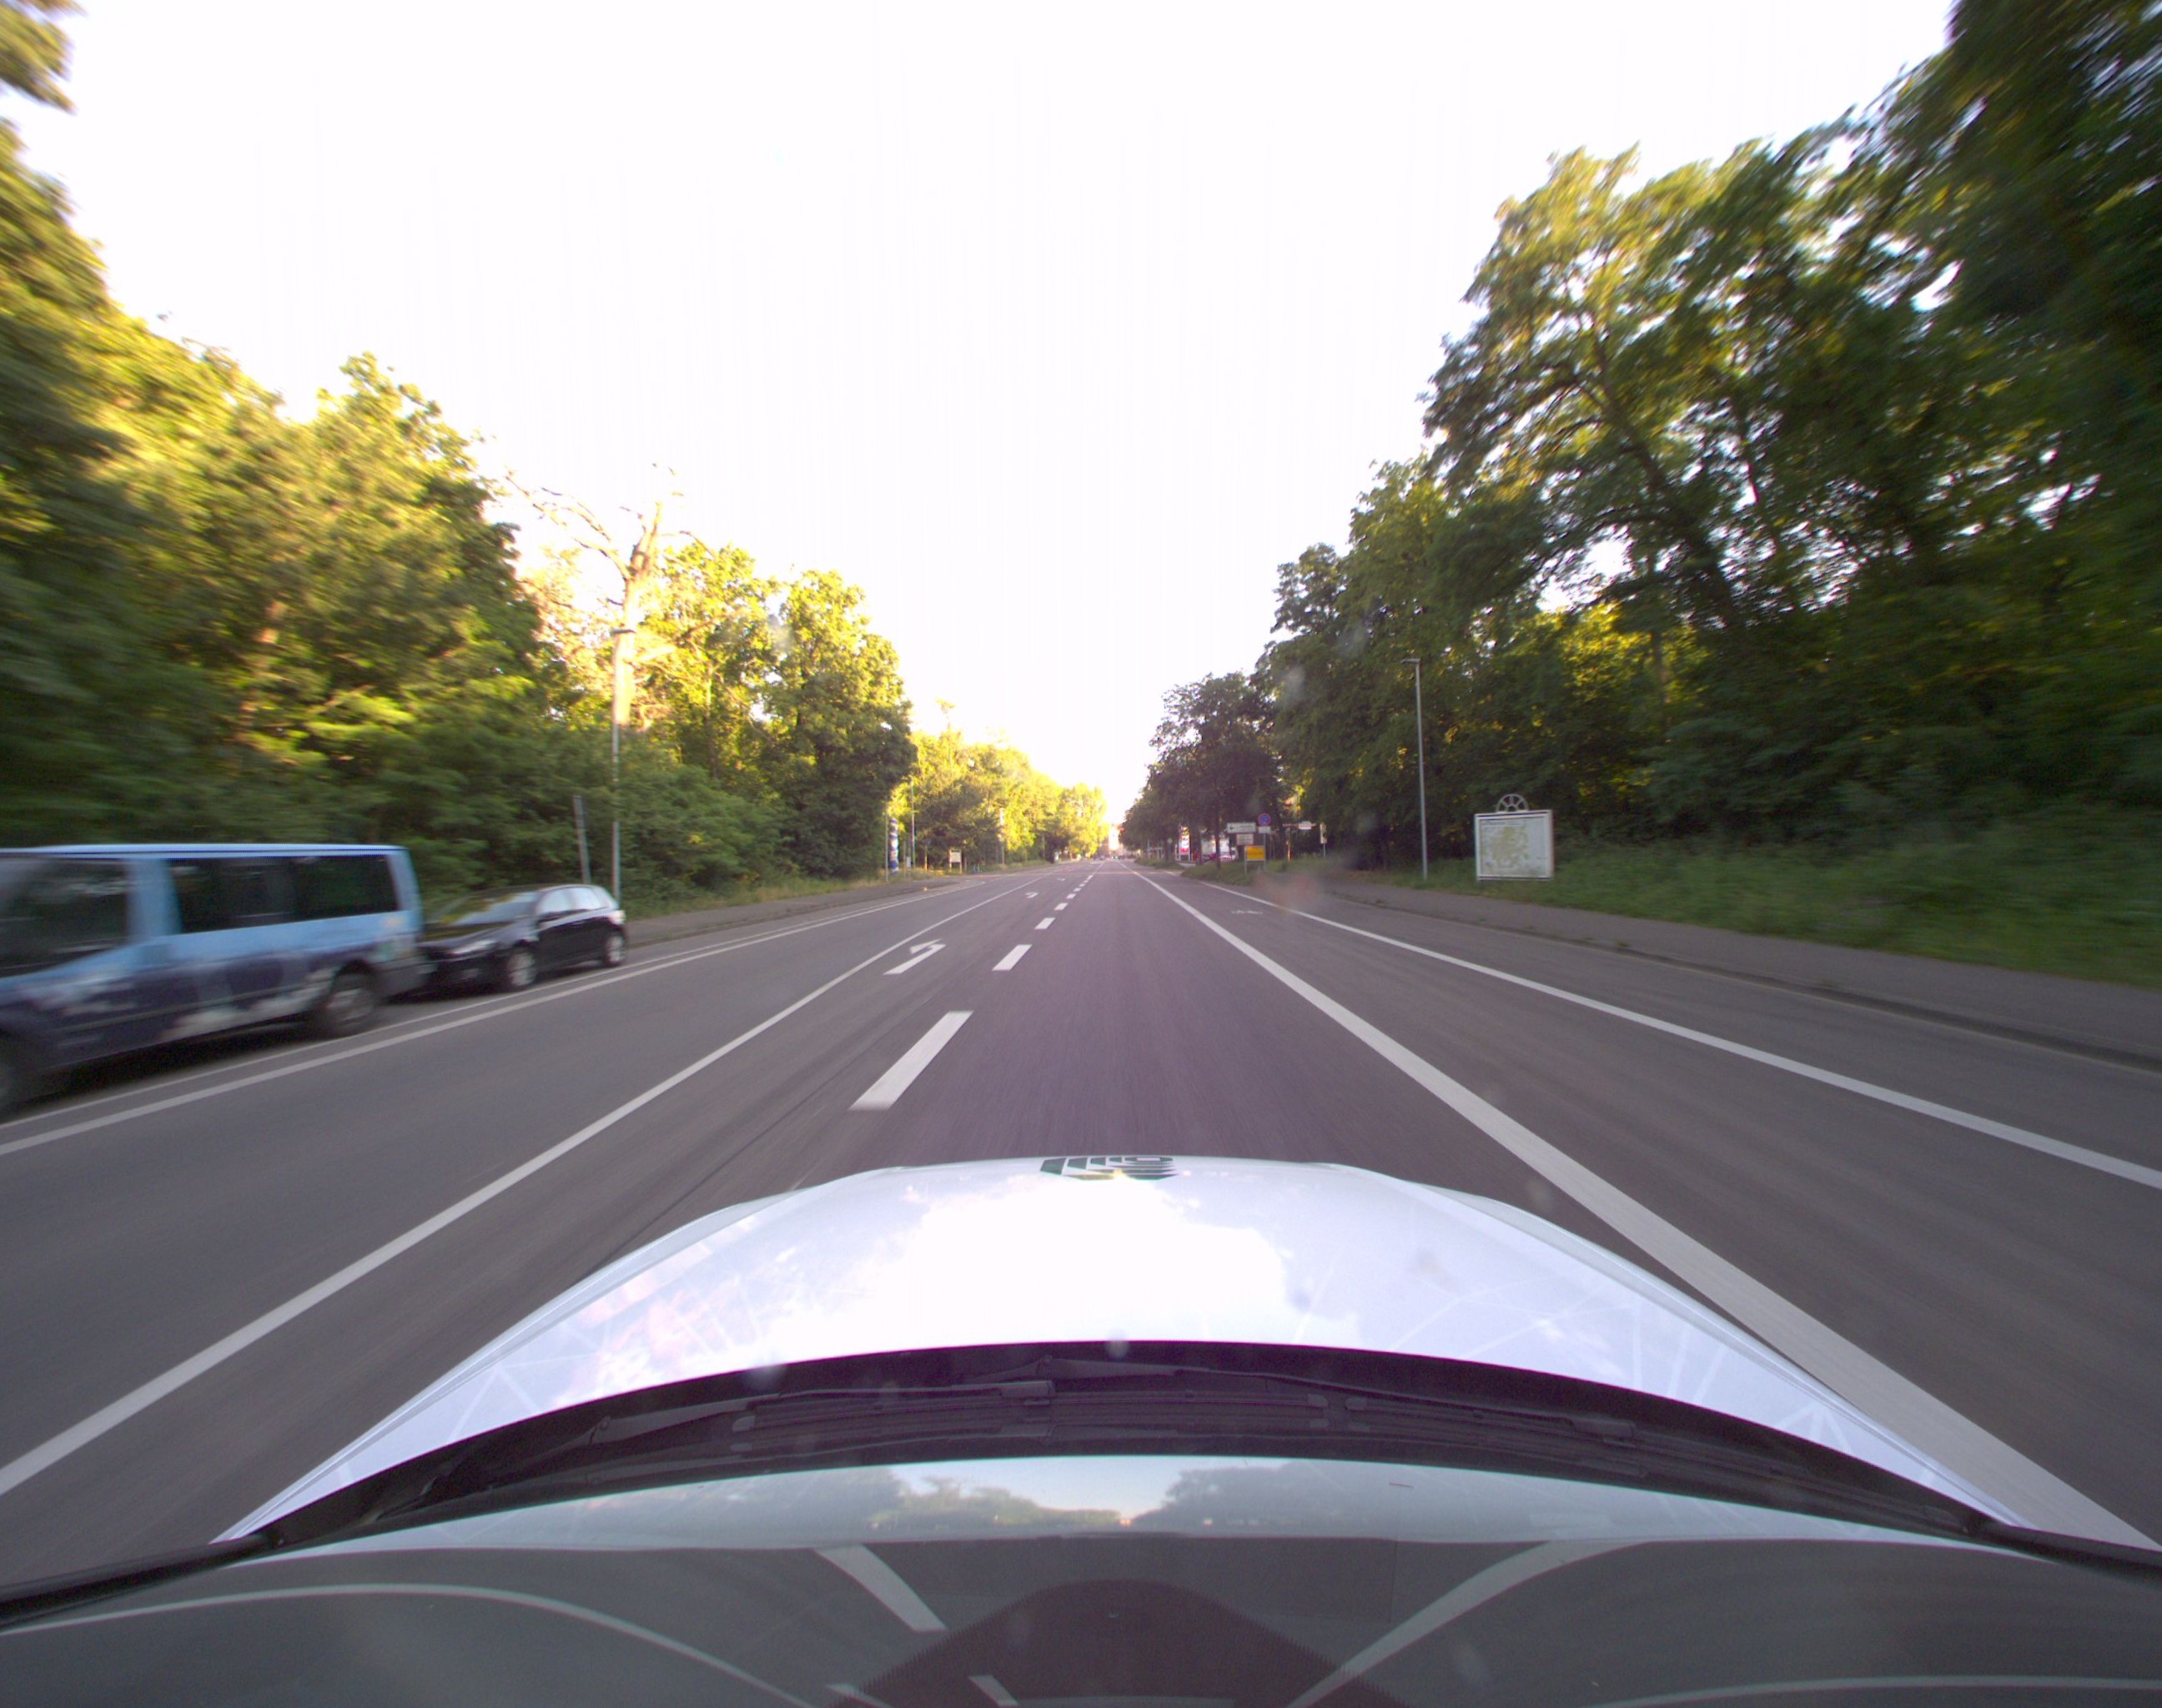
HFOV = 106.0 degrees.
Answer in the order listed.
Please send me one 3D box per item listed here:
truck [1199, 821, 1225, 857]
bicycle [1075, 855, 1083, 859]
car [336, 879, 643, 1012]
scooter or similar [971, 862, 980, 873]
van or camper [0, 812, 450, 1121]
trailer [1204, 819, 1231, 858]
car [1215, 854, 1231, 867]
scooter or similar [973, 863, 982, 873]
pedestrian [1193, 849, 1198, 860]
[{"bbox_3d":[20.389,-2.277,127.138,3.021,5.455,8.415,-2,0,2],"label":"truck"},{"bbox_3d":[-0.650,0.823,258.661,2.446,1.195,0.759,-2,-1,11],"label":"bicycle"},{"bbox_3d":[-8.592,1.215,12.394,1.683,1.462,4.238,-3,0,-3],"label":"car"},{"bbox_3d":[-11.194,1.462,86.462,0.357,1.110,0.885,-2,-1,44],"label":"scooter or similar"},{"bbox_3d":[-8.410,0.818,7.013,2.026,2.094,5.010,-3,0,-2],"label":"van or camper"},{"bbox_3d":[20.047,-2.235,119.956,3.008,5.462,7.940,-1,0,3],"label":"trailer"},{"bbox_3d":[18.686,0.860,107.479,1.761,1.583,4.827,0,0,6],"label":"car"},{"bbox_3d":[-11.394,1.546,89.618,0.901,1.068,0.492,-2,0,-23],"label":"scooter or similar"},{"bbox_3d":[18.250,0.046,130.108,0.753,1.798,0.708,0,0,5],"label":"pedestrian"}]
